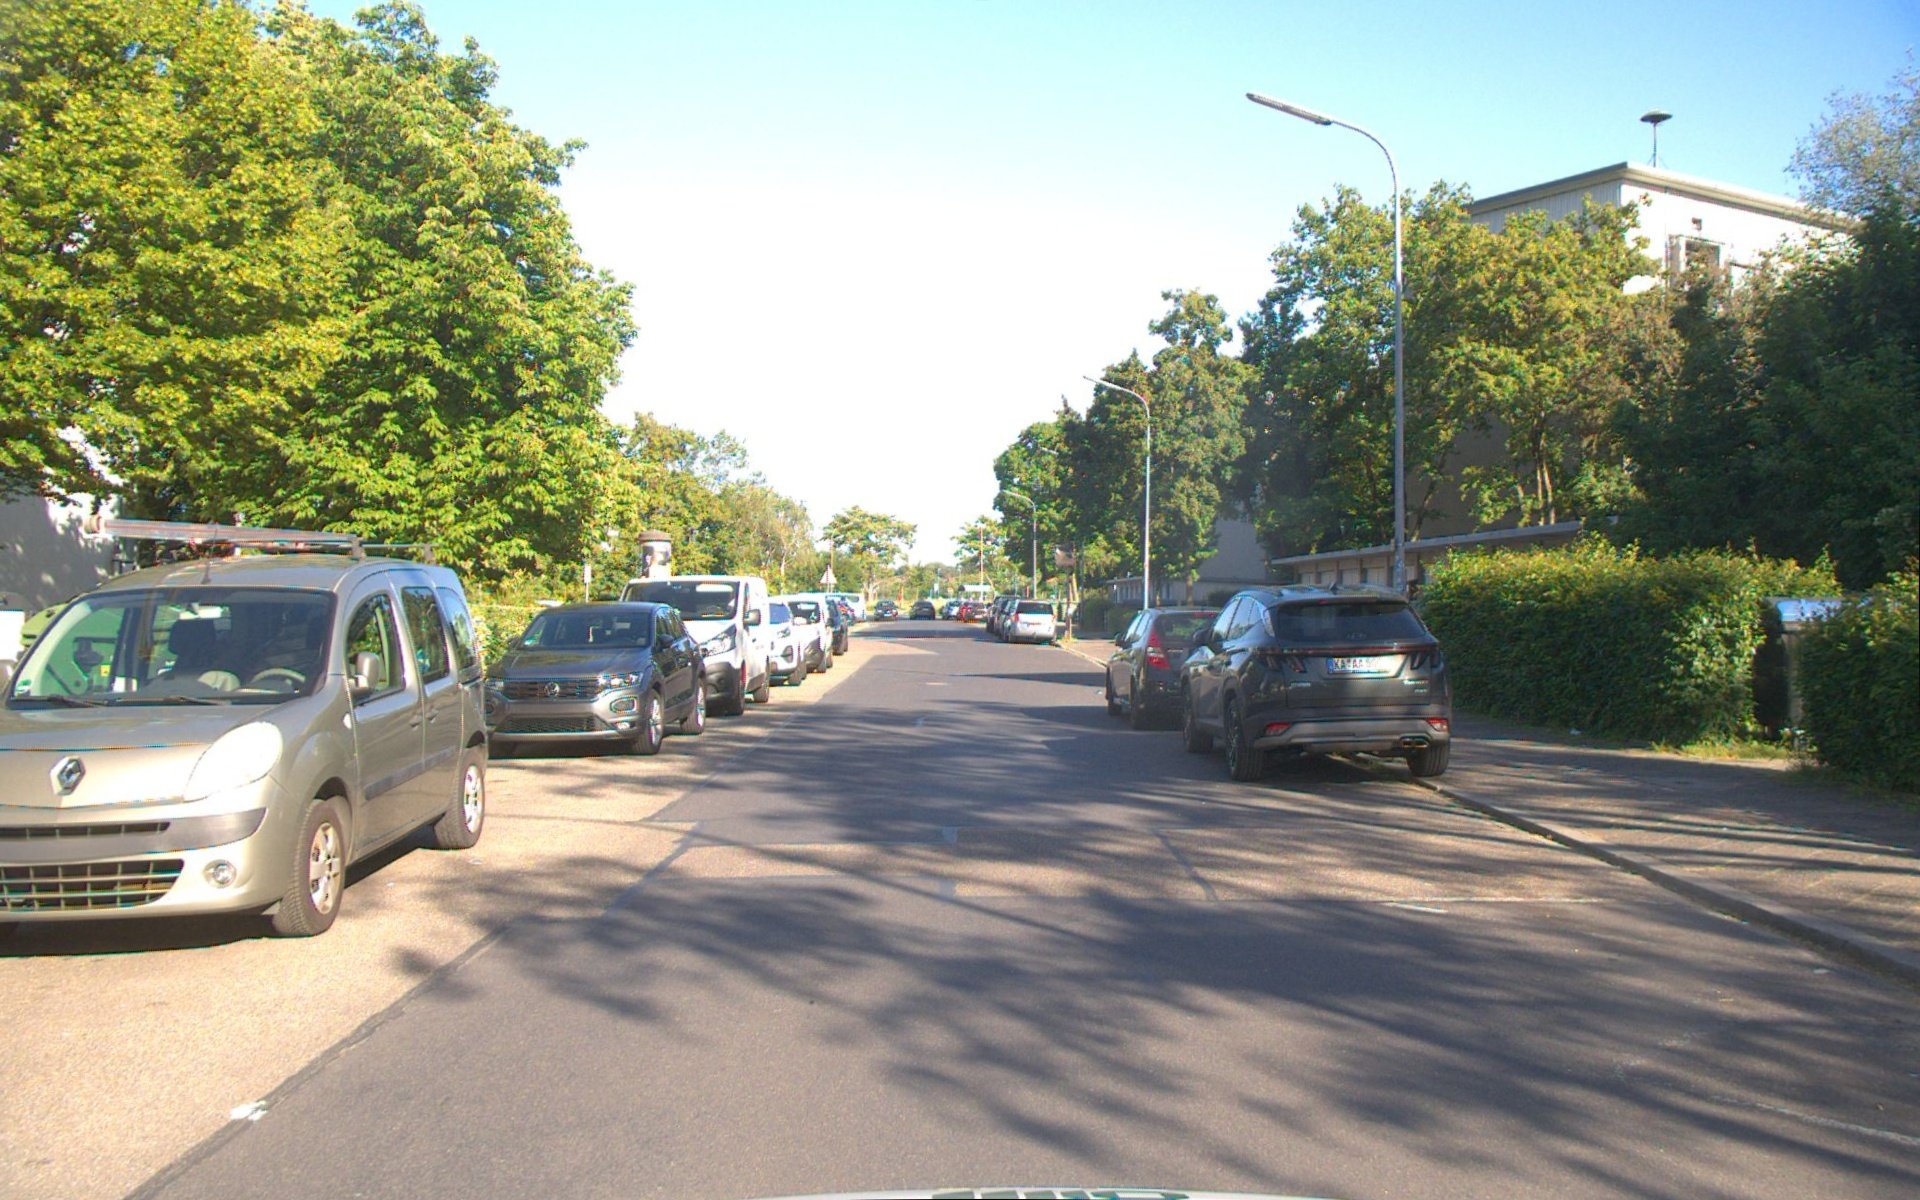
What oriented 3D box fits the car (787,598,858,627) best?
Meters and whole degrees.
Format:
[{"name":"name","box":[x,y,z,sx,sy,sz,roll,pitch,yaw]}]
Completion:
[{"name":"car","box":[-7.902,0.712,94.920,3.975,1.589,1.799,1,0,-6]}]

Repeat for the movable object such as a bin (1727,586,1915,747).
[{"name":"movable object such as a bin","box":[8.320,0.616,16.048,1.296,1.500,1.091,0,0,4]}]

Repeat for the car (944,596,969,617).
[{"name":"car","box":[-0.312,0.529,134.009,1.760,1.672,3.949,1,0,-3]}]

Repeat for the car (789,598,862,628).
[{"name":"car","box":[-7.401,0.707,90.888,3.975,1.589,1.799,1,0,-6]}]

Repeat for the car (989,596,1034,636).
[{"name":"car","box":[2.381,0.718,77.450,1.760,1.818,3.949,1,0,-3]}]

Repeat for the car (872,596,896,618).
[{"name":"car","box":[-5.863,0.523,127.307,1.760,1.589,3.949,1,0,-3]}]

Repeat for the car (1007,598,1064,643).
[{"name":"car","box":[2.773,0.718,61.502,1.760,1.589,3.949,1,0,-3]}]

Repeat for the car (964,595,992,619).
[{"name":"car","box":[1.247,0.477,116.712,1.760,1.576,3.949,1,0,-3]}]

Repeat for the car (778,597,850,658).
[{"name":"car","box":[-4.206,0.762,48.184,1.711,1.641,4.307,-1,0,-1]}]

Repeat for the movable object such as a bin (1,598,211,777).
[{"name":"movable object such as a bin","box":[-7.437,0.730,14.487,1.079,1.445,1.361,3,0,0]}]

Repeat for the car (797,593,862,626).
[{"name":"car","box":[-8.190,0.588,103.439,3.975,2.027,1.799,1,0,-6]}]

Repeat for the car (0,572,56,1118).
[{"name":"car","box":[-3.657,0.765,3.215,1.675,1.628,3.984,-2,0,-2]}]

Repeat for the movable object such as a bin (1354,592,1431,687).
[{"name":"movable object such as a bin","box":[6.911,0.615,26.510,0.898,1.479,1.232,0,0,-1]}]

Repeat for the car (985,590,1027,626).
[{"name":"car","box":[2.274,0.382,82.017,1.760,1.672,3.949,1,0,-3]}]

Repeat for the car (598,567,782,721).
[{"name":"car","box":[-3.832,0.569,24.345,1.876,1.997,5.087,-1,0,0]}]

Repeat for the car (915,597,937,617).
[{"name":"car","box":[-2.723,0.569,131.948,1.646,1.540,4.102,2,0,-3]}]

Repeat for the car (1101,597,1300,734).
[{"name":"car","box":[2.975,0.755,21.330,1.869,1.557,4.327,1,0,-1]}]

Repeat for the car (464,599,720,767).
[{"name":"car","box":[-3.819,0.794,17.889,1.710,1.560,4.140,-1,0,2]}]

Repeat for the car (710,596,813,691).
[{"name":"car","box":[-3.846,0.794,32.649,1.712,1.699,4.375,-1,0,-3]}]

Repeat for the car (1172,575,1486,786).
[{"name":"car","box":[3.256,0.644,15.582,1.869,1.668,4.627,1,0,-1]}]

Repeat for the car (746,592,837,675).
[{"name":"car","box":[-3.835,0.723,38.132,1.711,1.762,4.005,-1,0,-1]}]

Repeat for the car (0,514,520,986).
[{"name":"car","box":[-3.841,0.618,9.039,1.817,1.925,4.416,-1,0,-2]}]

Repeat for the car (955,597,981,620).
[{"name":"car","box":[0.574,0.617,124.026,1.760,1.672,3.949,1,0,-3]}]

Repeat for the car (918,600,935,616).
[{"name":"car","box":[-3.634,0.895,179.893,1.760,1.672,3.949,1,0,-3]}]
